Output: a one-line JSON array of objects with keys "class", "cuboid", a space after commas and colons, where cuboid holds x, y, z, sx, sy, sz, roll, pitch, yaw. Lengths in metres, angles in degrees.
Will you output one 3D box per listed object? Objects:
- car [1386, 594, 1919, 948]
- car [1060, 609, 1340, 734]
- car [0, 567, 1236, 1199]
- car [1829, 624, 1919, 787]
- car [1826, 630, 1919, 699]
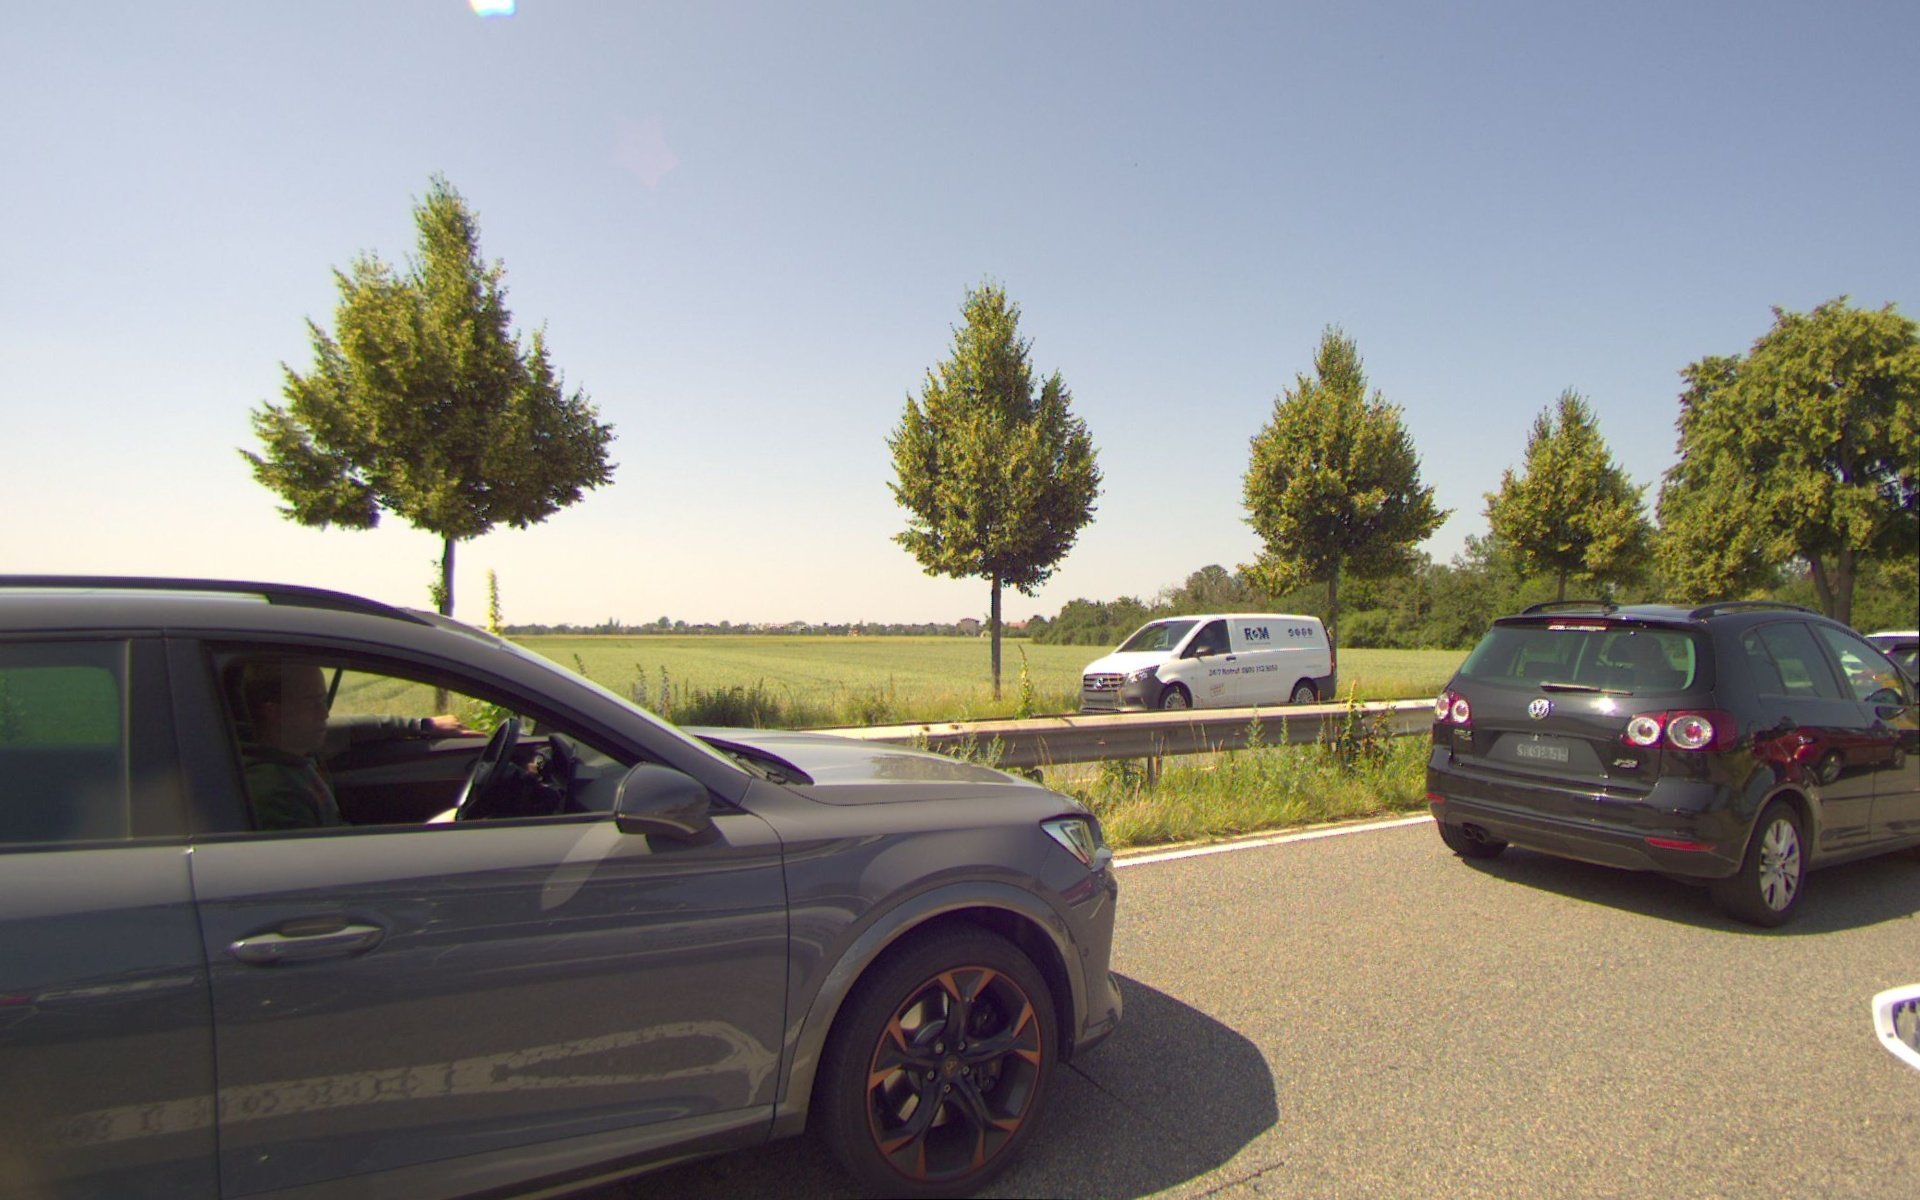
[{"class": "car", "cuboid": [4.643, 0.776, 6.242, 3.846, 1.597, 1.715, 0, 0, -30]}, {"class": "car", "cuboid": [4.350, 1.185, 17.958, 4.960, 1.956, 1.983, 1, -2, -32]}, {"class": "car", "cuboid": [-1.494, 0.719, 2.539, 4.312, 1.523, 1.737, 1, 0, -31]}, {"class": "car", "cuboid": [10.516, 0.990, 9.952, 3.908, 1.461, 1.694, 1, 0, -30]}, {"class": "car", "cuboid": [24.196, 1.612, 26.053, 4.096, 1.660, 1.734, 1, -2, -36]}]
